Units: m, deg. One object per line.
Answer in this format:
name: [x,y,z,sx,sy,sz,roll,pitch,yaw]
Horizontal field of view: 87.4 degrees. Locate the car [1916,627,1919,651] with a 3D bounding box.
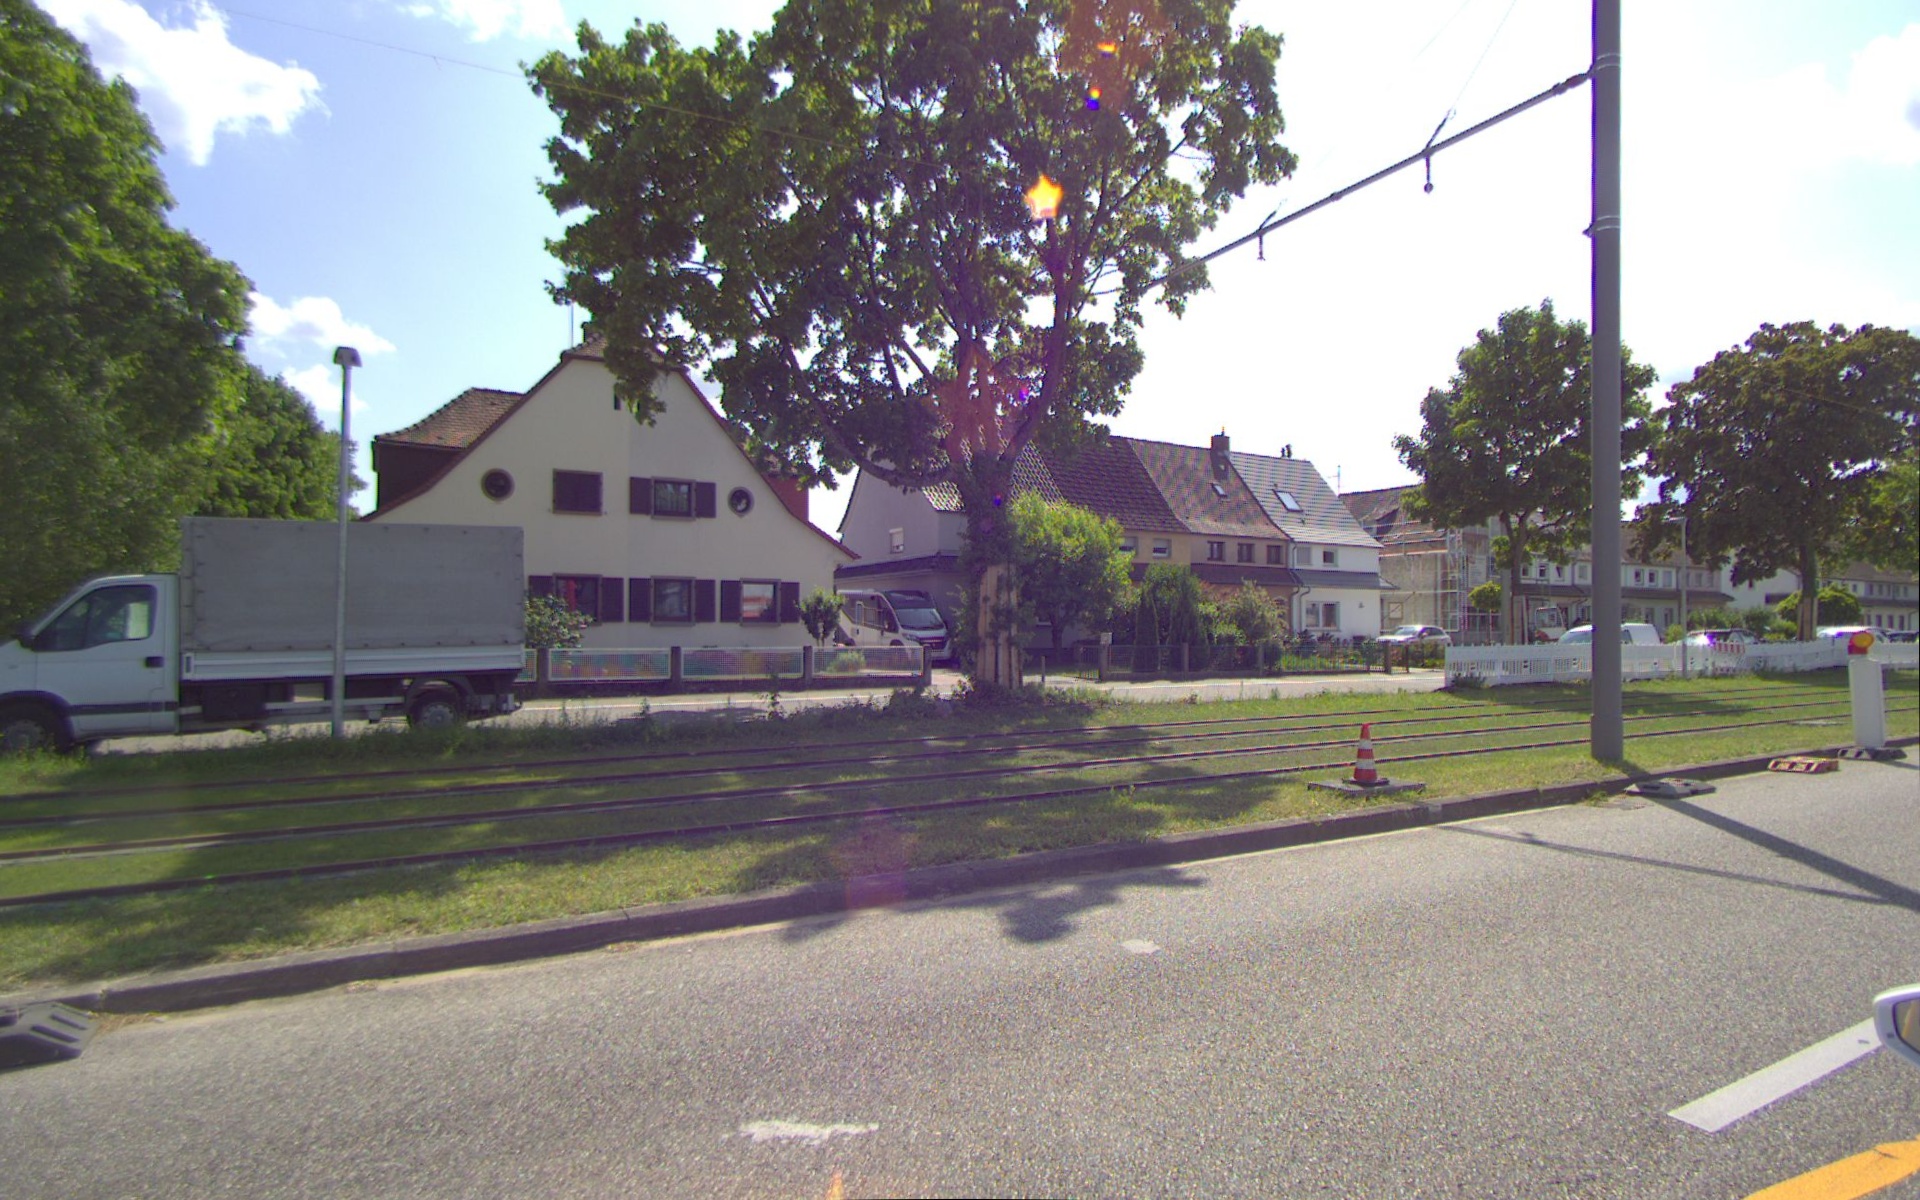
car: [71.926,2.850,73.543,4.013,1.762,1.691,1,-2,-30]

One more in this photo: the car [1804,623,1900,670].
car: [34.980,1.805,39.373,3.814,1.762,1.691,1,-2,-30]

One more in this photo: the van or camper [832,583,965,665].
van or camper: [-2.356,0.906,36.649,2.224,2.745,5.963,1,-2,-33]

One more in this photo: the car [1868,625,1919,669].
car: [40.384,1.964,42.597,3.814,1.762,1.691,1,-2,-30]

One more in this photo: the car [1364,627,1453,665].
car: [19.884,1.995,44.477,3.814,1.614,1.691,1,-2,-30]

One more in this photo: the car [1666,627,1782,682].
car: [25.740,1.802,33.824,4.006,1.762,1.691,1,-2,-30]

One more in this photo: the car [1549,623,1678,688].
car: [19.495,1.606,29.958,3.814,1.841,1.691,1,-2,-30]

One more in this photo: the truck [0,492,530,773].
truck: [-8.804,0.411,12.933,5.805,3.027,1.994,1,-2,-30]

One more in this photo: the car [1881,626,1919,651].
car: [66.748,2.689,70.727,4.013,1.762,1.691,1,-2,-30]
